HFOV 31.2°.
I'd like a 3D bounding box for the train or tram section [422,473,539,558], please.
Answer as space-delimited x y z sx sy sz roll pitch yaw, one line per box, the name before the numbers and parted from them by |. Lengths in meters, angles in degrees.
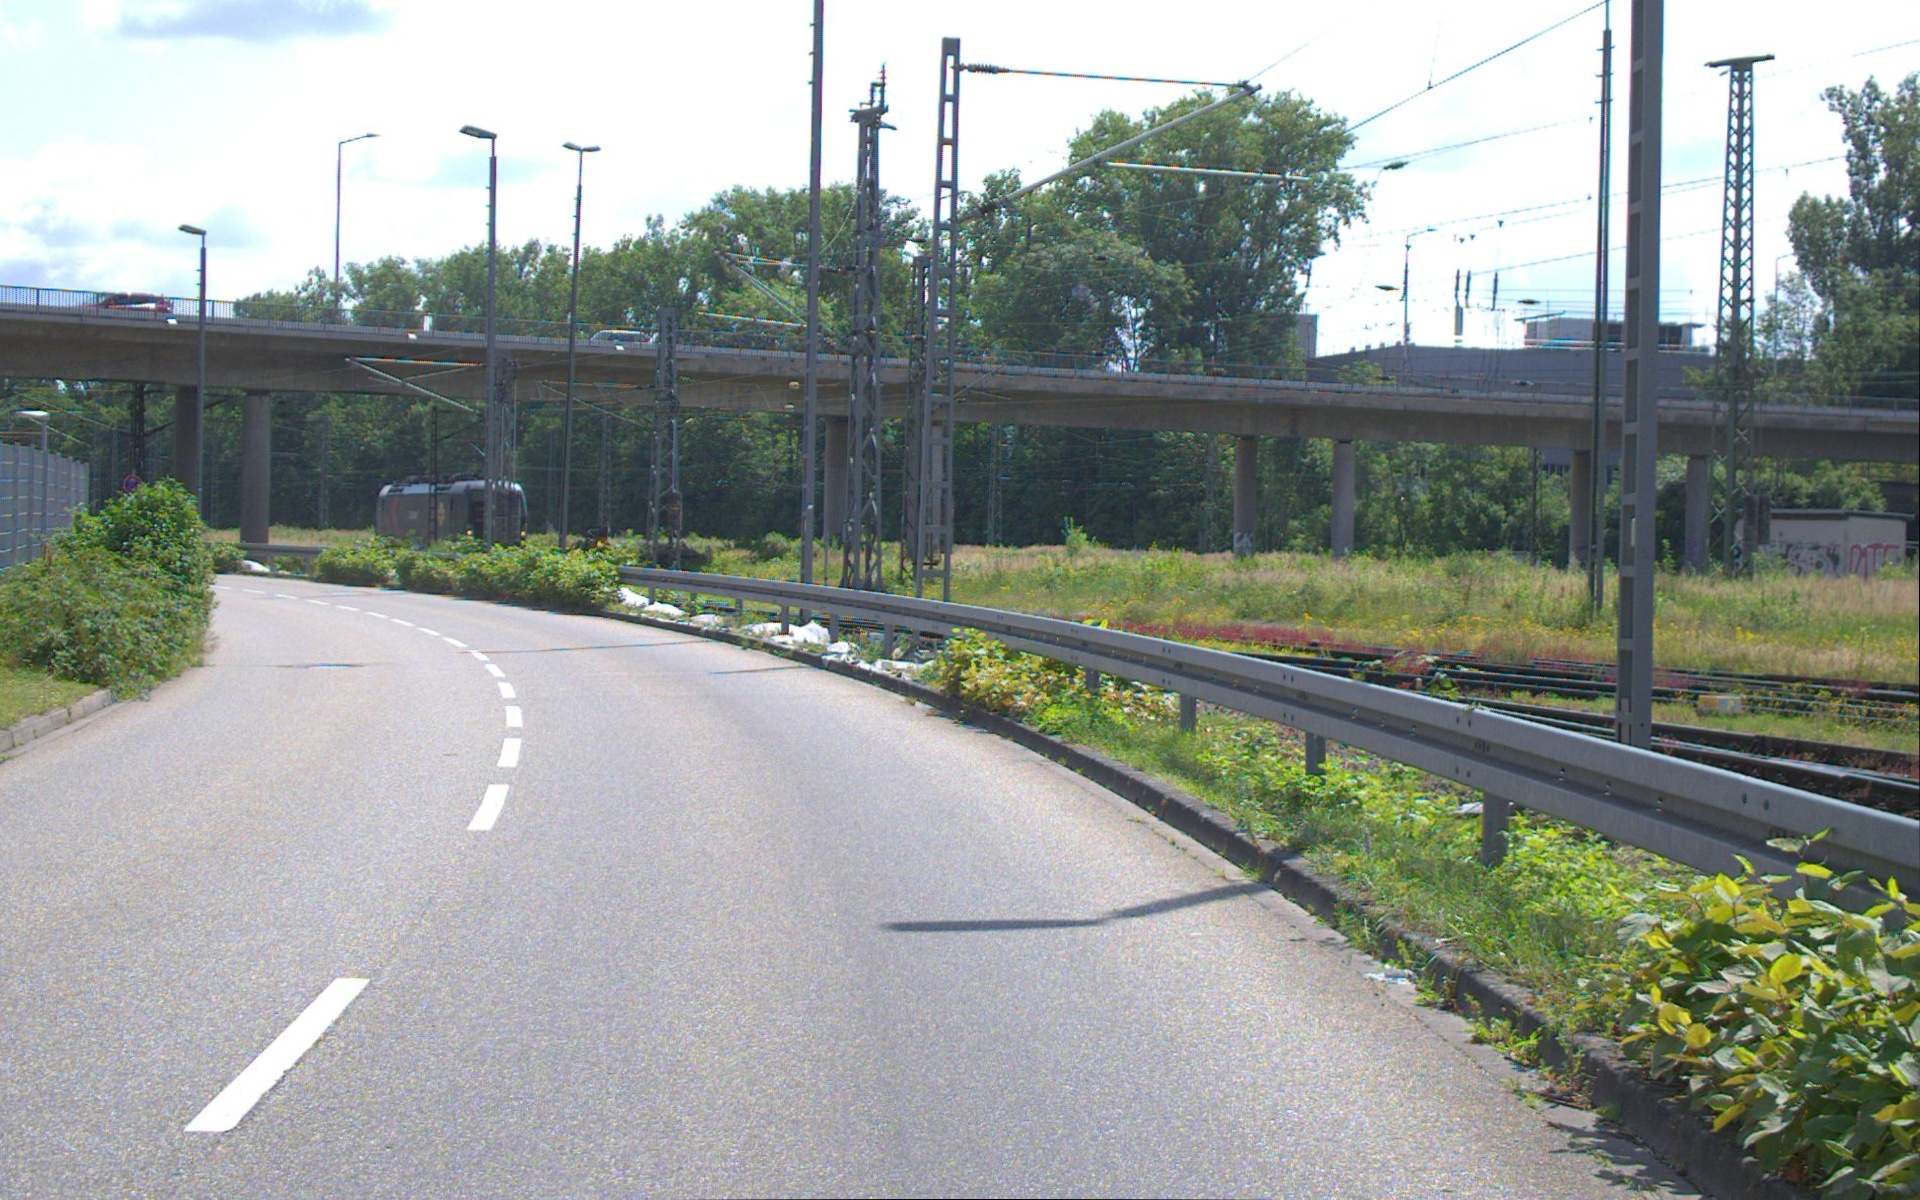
train or tram section | -20.656 -3.593 147.677 2.889 3.497 8.567 1 1 -23
